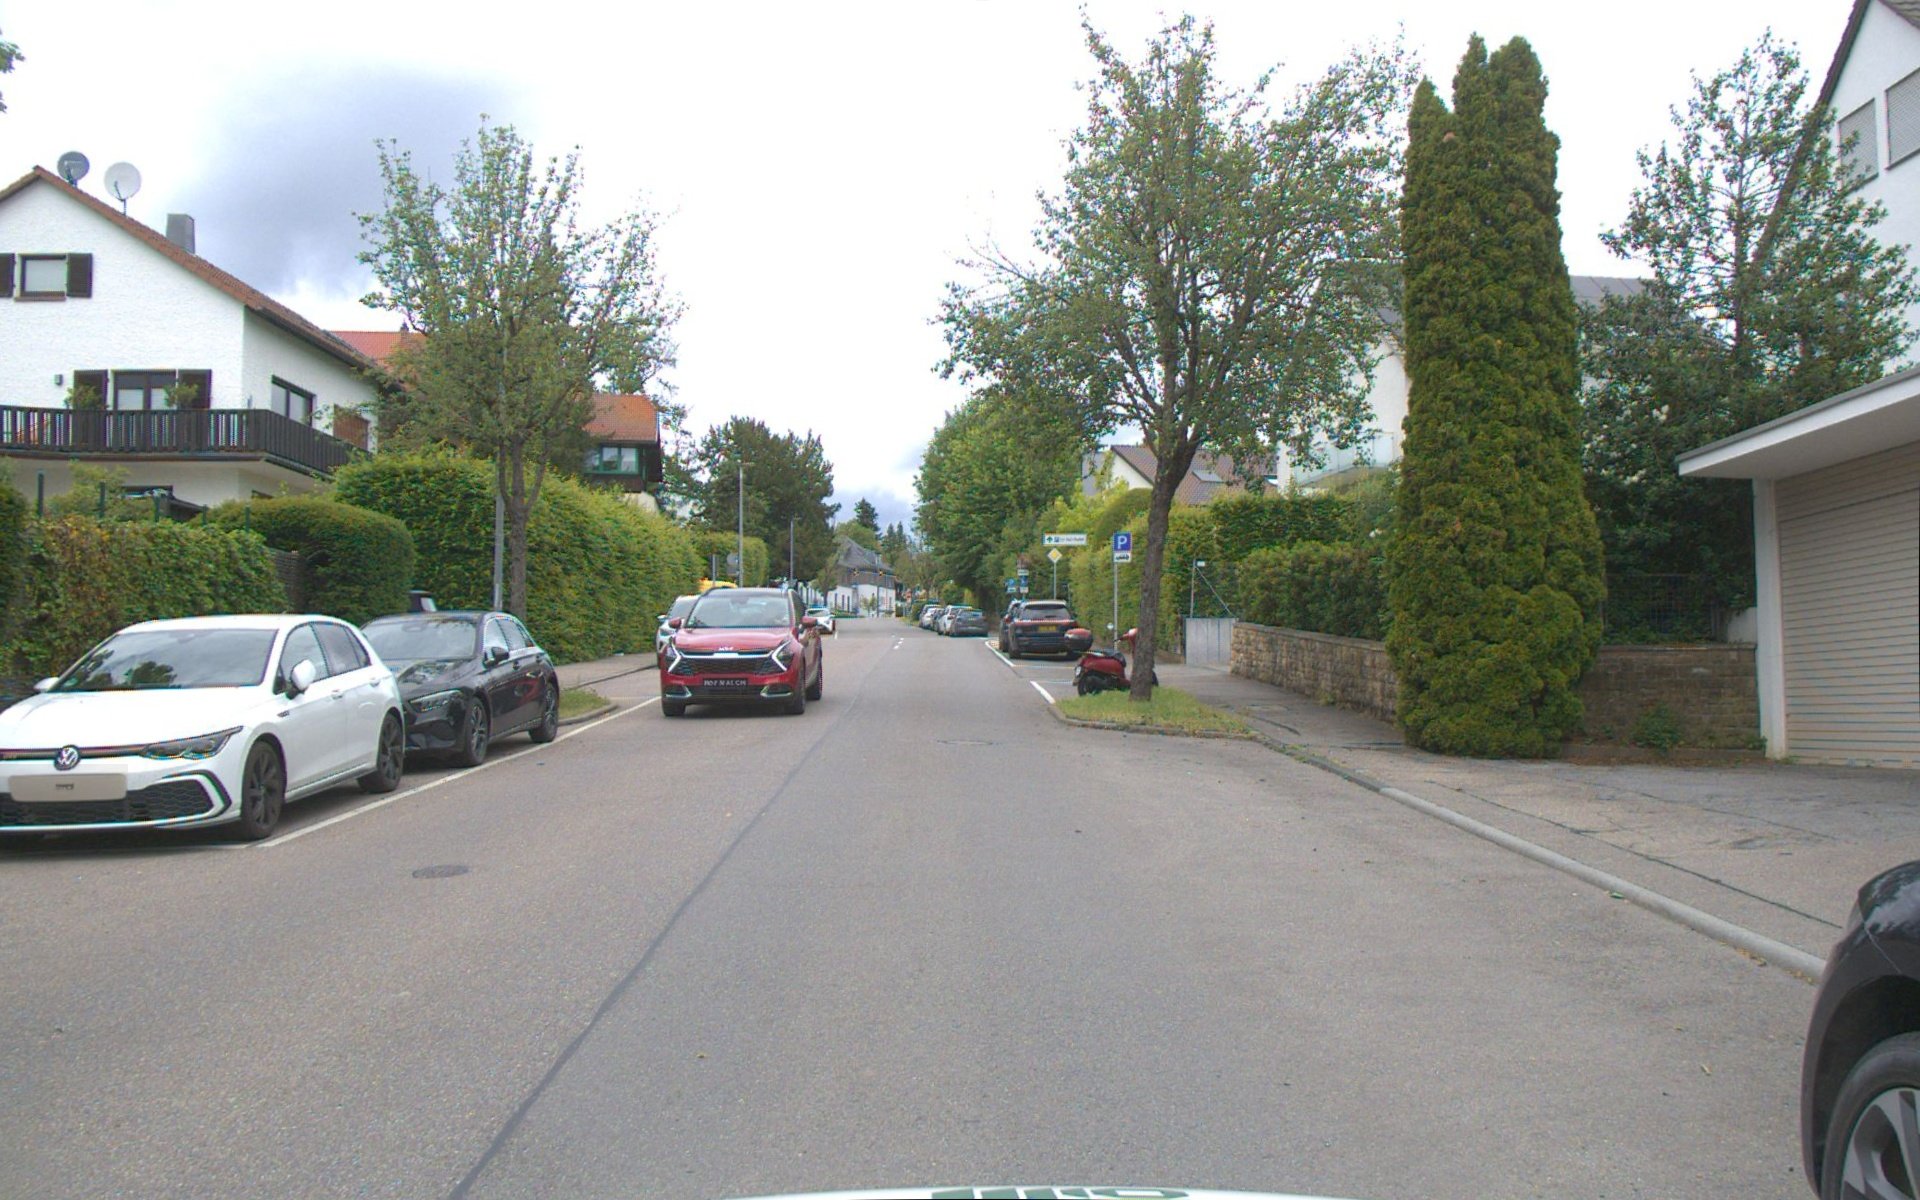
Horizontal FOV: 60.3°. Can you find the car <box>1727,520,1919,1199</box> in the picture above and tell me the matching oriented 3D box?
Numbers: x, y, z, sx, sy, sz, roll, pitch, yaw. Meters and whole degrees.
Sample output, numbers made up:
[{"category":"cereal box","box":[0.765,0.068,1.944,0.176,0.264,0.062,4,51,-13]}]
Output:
[{"category":"car","box":[2.664,0.699,1.411,1.952,1.646,4.513,2,0,1]}]

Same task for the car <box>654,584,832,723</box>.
[{"category":"car","box":[-2.889,0.672,22.897,1.902,1.676,4.257,-2,0,-1]}]

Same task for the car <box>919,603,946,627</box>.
[{"category":"car","box":[-1.980,1.049,118.351,1.632,1.697,3.464,0,0,-5]}]

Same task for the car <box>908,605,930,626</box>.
[{"category":"car","box":[-3.324,1.250,133.594,1.611,1.697,3.464,0,0,-5]}]

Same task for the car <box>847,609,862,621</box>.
[{"category":"car","box":[-13.212,1.882,206.931,1.787,1.445,3.996,0,0,-5]}]

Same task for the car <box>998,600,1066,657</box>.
[{"category":"car","box":[2.104,0.811,49.478,1.844,1.560,4.475,1,0,0]}]

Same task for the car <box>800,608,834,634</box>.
[{"category":"car","box":[-7.992,1.162,92.283,1.634,1.424,3.459,0,0,-10]}]

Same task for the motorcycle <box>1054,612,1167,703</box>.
[{"category":"motorcycle","box":[2.360,0.876,25.846,1.848,1.370,0.592,0,0,-37]}]

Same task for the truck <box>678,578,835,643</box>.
[{"category":"truck","box":[-8.156,0.467,66.196,5.841,2.349,2.810,1,-4,-19]}]

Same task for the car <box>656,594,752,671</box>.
[{"category":"car","box":[-5.589,0.676,36.514,1.688,1.567,3.997,-1,0,-3]}]

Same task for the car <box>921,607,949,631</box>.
[{"category":"car","box":[-1.712,1.266,111.456,1.632,1.527,3.464,0,0,-5]}]

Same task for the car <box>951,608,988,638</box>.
[{"category":"car","box":[0.489,1.180,86.737,1.632,1.527,3.464,0,0,-5]}]

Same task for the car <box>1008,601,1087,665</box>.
[{"category":"car","box":[2.269,0.822,43.759,1.844,1.560,4.475,1,0,0]}]

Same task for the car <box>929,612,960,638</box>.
[{"category":"car","box":[-0.937,1.515,100.846,1.632,1.527,3.464,0,0,-5]}]

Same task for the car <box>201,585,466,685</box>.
[{"category":"car","box":[-10.937,0.580,29.025,3.904,1.560,1.788,2,0,3]}]

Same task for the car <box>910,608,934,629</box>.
[{"category":"car","box":[-2.921,1.372,126.028,1.632,1.527,3.464,0,0,-5]}]

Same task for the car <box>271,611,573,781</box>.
[{"category":"car","box":[-5.206,0.861,16.574,1.692,1.448,4.078,-1,-1,0]}]

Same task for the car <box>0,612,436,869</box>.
[{"category":"car","box":[-5.357,0.852,11.969,1.800,1.447,4.407,-2,0,-2]}]

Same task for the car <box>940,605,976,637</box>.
[{"category":"car","box":[-0.114,1.137,91.465,1.680,1.686,3.618,0,0,-5]}]
